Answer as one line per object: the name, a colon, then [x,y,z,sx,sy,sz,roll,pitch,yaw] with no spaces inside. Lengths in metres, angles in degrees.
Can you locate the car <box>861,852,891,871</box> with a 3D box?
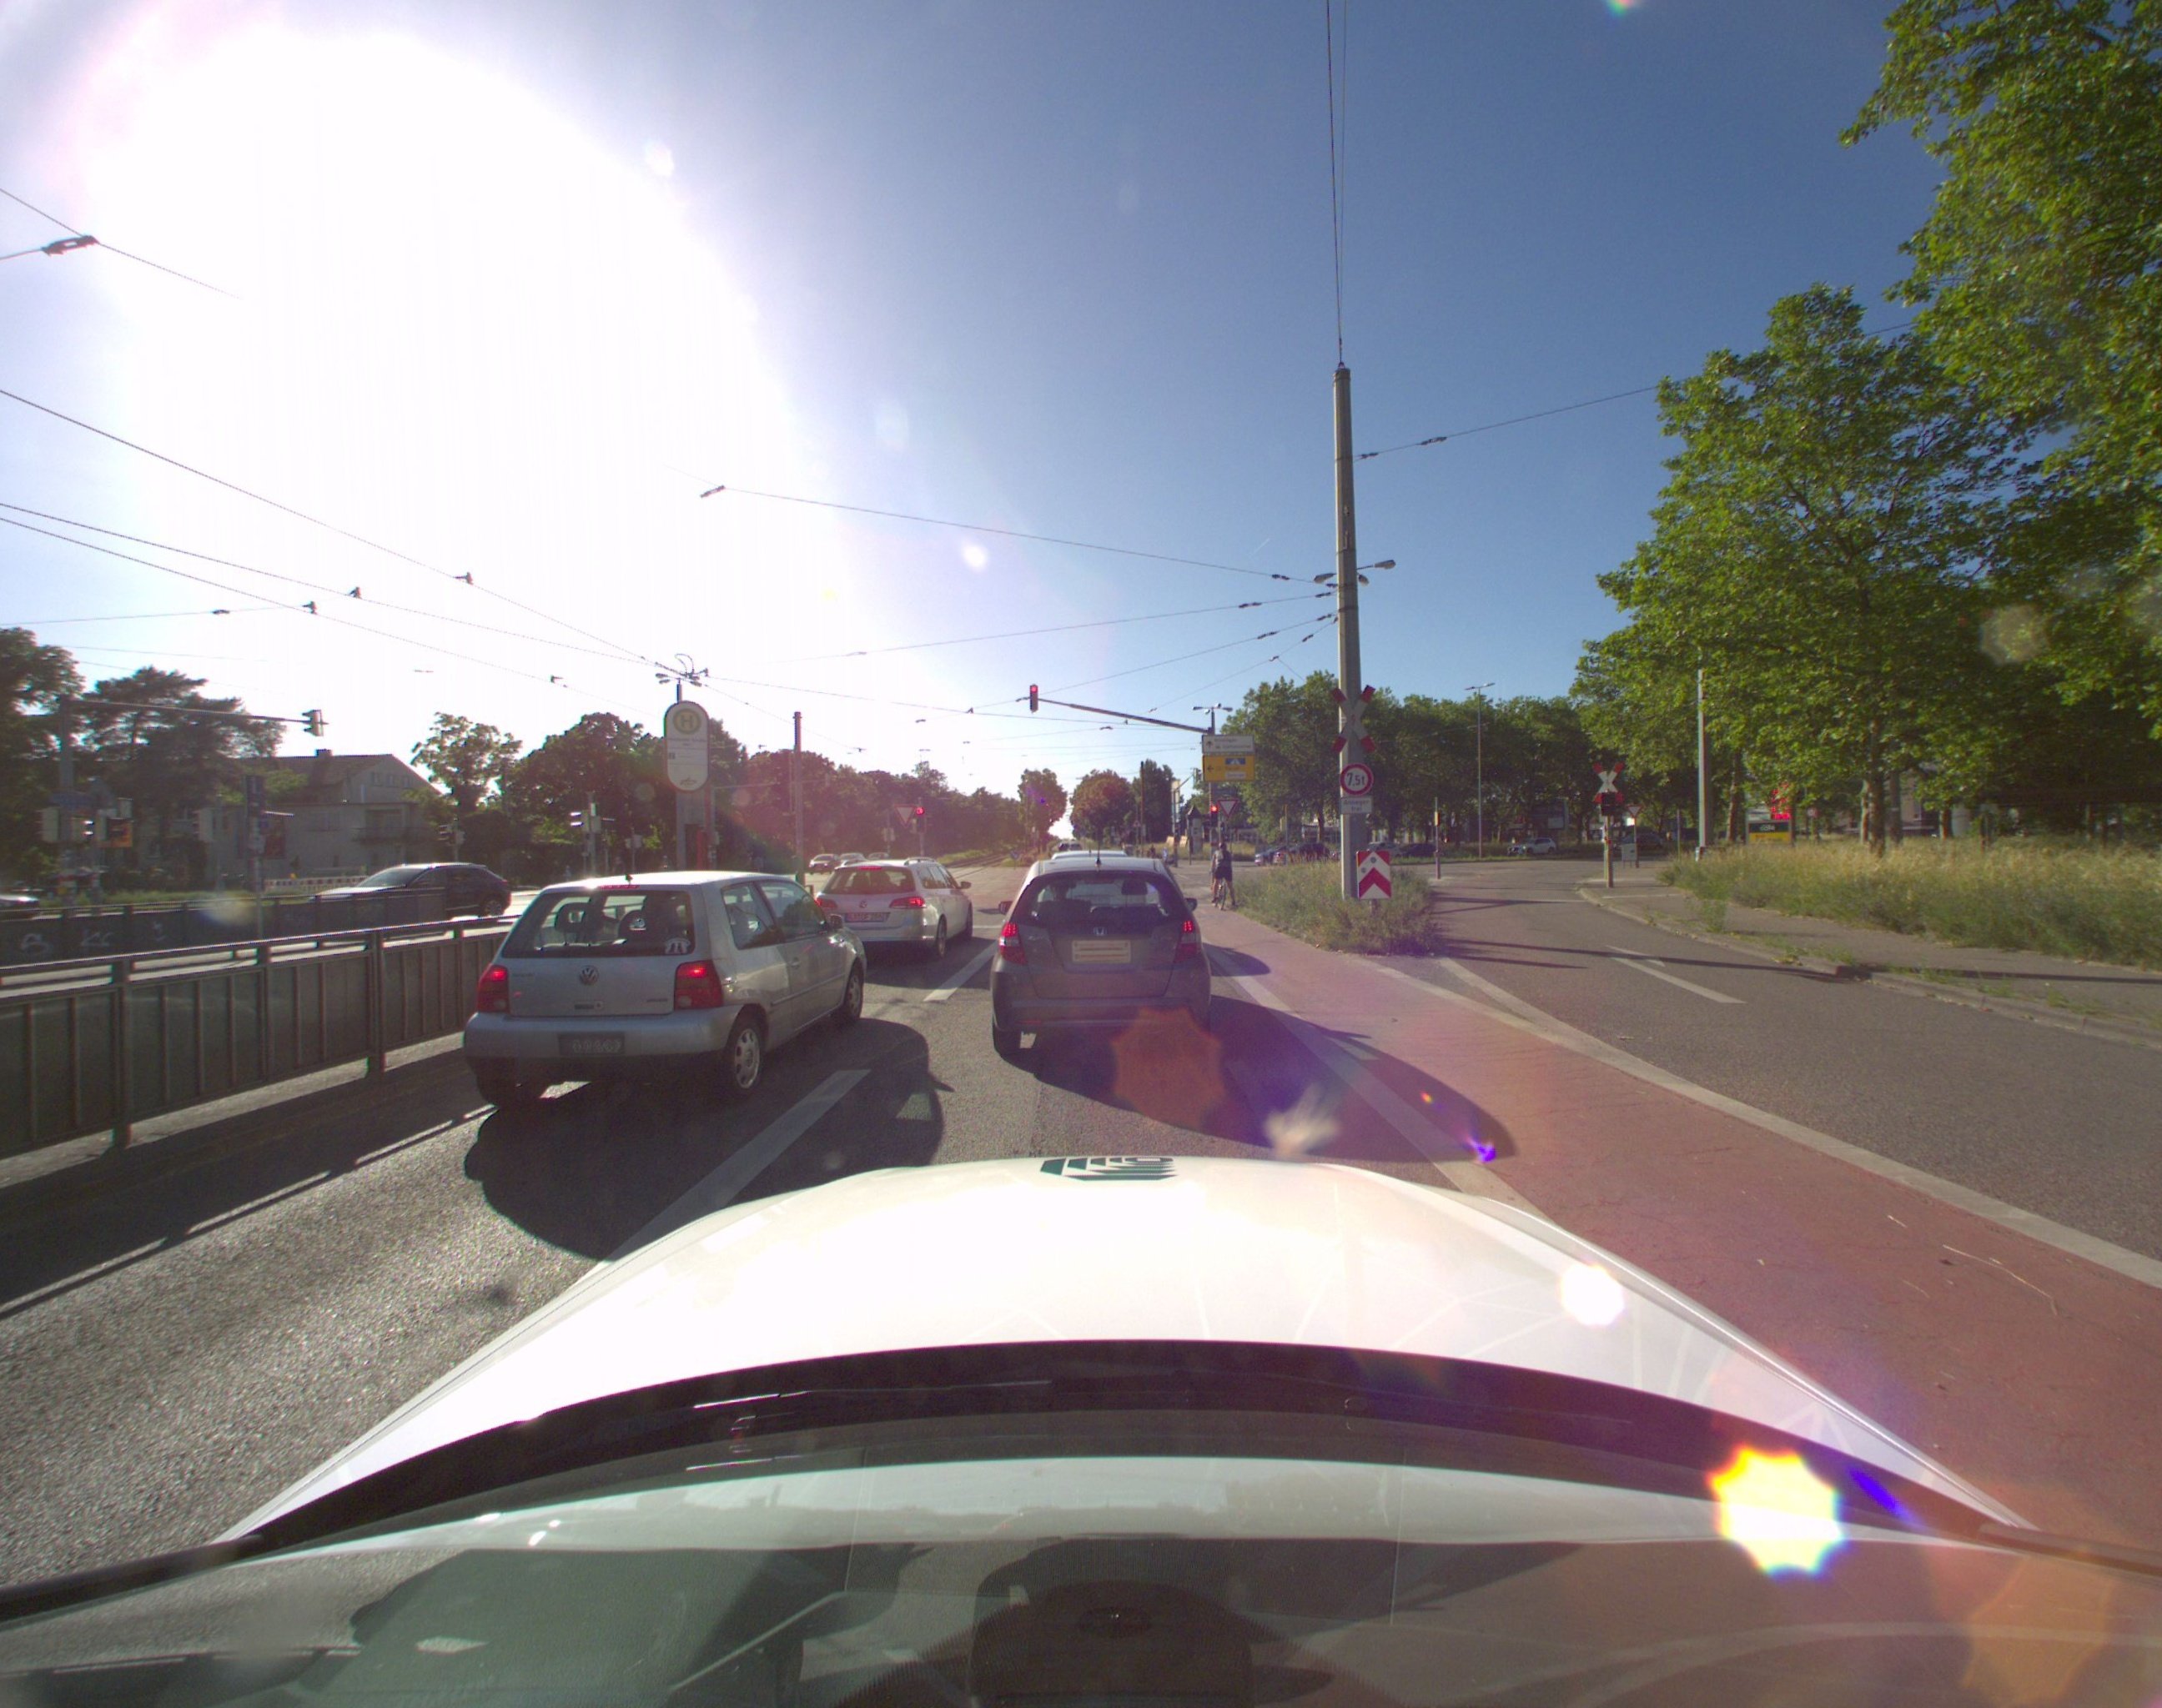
car: [-18.781,0.675,74.754,1.991,1.604,4.745,0,0,-6]

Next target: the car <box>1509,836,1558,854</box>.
car: [39.115,-0.782,70.459,4.005,1.501,1.581,-2,0,-24]

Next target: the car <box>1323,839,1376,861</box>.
car: [20.674,-0.326,62.661,3.757,1.570,1.480,-2,0,-21]

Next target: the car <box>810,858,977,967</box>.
car: [-2.778,0.797,12.982,1.613,1.457,4.086,-1,0,1]

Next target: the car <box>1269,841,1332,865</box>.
car: [15.017,-0.085,55.791,4.002,1.531,1.594,-2,0,-22]

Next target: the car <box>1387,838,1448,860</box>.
car: [26.885,-0.411,65.050,4.526,1.574,1.681,-2,0,-21]

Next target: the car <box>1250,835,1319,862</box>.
car: [15.028,-0.375,60.084,4.705,1.879,1.986,0,-1,-22]

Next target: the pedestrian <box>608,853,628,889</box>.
pedestrian: [-26.406,0.968,46.470,0.748,2.013,0.788,-2,0,-11]

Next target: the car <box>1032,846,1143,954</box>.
car: [0.146,0.677,14.131,1.605,1.562,4.289,-1,0,1]

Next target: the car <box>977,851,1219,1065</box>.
car: [0.109,0.724,7.491,1.663,1.462,3.585,-1,0,-1]

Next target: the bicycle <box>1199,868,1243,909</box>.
bicycle: [3.632,0.865,21.302,0.719,0.989,2.876,0,0,1]

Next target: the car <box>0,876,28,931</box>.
car: [-32.026,1.438,21.497,4.844,1.497,1.771,-2,0,-25]

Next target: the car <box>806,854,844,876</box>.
car: [-19.017,0.810,60.705,1.829,1.548,3.993,-2,0,-5]

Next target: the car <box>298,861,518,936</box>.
car: [-16.229,1.012,19.942,1.577,1.544,3.997,-2,0,11]

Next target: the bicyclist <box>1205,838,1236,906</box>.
bicyclist: [3.631,0.458,21.225,0.663,1.716,0.948,0,-1,1]

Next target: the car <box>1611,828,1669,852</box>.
car: [45.144,-1.113,65.734,4.218,1.774,1.842,-2,0,-23]

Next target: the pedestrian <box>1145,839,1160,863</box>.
pedestrian: [5.547,-0.247,62.943,0.856,1.836,0.784,-2,0,-24]

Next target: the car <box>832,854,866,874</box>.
car: [-18.915,0.819,66.498,1.829,1.548,4.277,-2,0,-5]

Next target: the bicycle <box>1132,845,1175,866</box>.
bicycle: [5.613,0.119,62.954,3.218,1.574,0.815,-2,0,-24]

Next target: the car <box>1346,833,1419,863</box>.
car: [21.956,-0.446,59.249,4.906,2.013,1.986,-2,0,-22]

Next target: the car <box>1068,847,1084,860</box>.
car: [-0.672,-0.062,101.611,1.707,1.478,3.993,-2,0,-5]

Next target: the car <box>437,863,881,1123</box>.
car: [-2.828,0.815,6.334,1.613,1.417,3.352,-2,0,1]

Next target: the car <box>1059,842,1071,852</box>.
car: [-2.337,-0.944,117.998,1.520,1.378,3.670,-2,0,-4]
